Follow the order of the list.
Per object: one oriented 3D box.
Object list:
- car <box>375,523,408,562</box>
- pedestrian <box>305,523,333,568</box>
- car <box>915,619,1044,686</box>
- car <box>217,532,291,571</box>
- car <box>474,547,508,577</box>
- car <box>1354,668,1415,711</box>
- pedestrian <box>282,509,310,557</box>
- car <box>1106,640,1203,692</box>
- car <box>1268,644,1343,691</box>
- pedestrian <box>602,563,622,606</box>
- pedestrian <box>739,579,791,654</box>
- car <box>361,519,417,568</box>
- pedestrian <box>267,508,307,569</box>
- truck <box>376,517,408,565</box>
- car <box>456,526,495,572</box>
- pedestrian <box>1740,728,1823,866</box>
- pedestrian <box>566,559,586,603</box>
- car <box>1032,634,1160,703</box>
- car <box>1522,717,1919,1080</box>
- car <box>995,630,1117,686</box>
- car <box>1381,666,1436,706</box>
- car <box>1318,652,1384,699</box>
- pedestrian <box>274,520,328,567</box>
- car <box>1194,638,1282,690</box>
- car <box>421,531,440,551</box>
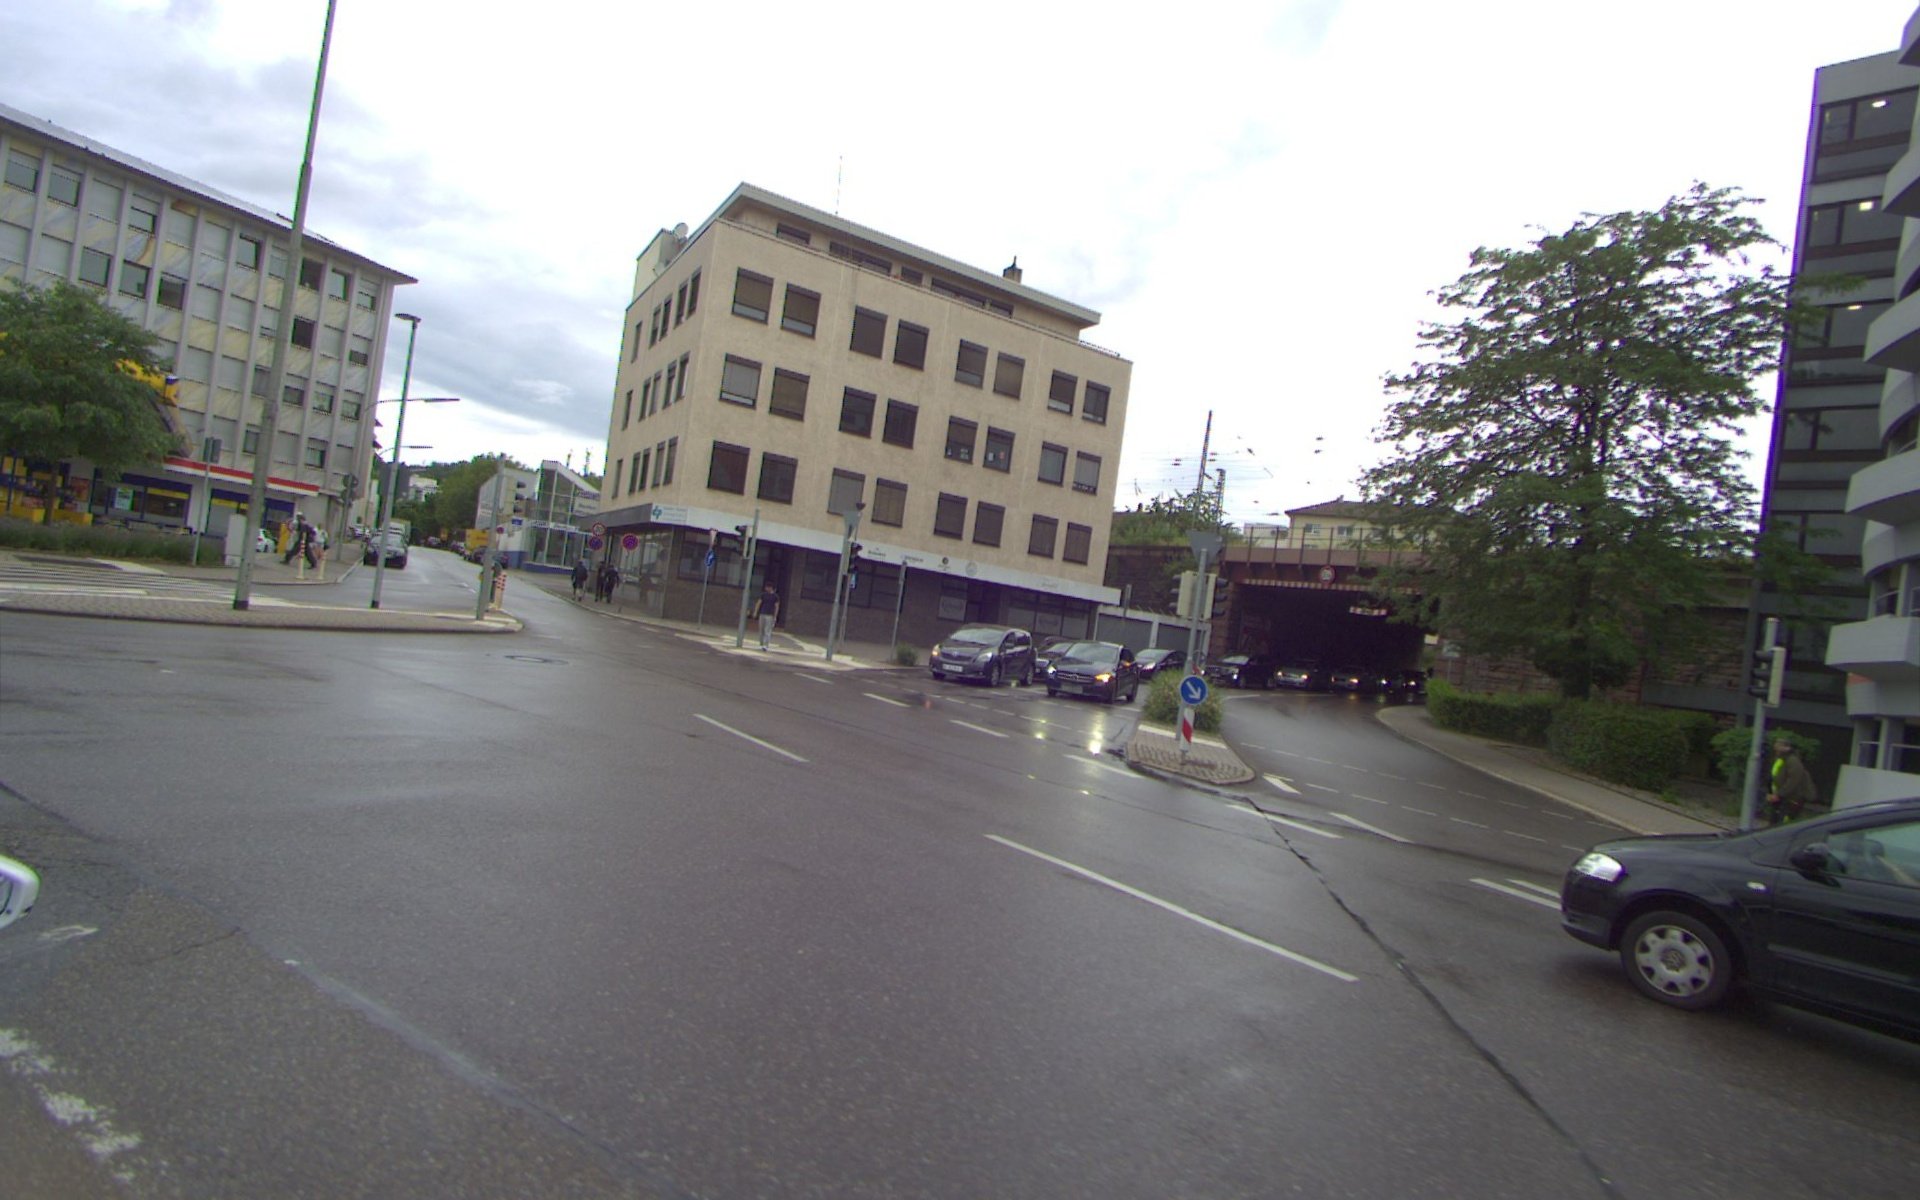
[{"bbox_3d":[-49.388,-4.947,87.338,1.980,3.006,4.546,9,-3,-30],"label":"car"},{"bbox_3d":[-23.187,-1.977,36.421,0.472,1.531,0.574,8,-2,-10],"label":"pedestrian"},{"bbox_3d":[0.650,1.451,27.758,1.963,1.462,4.484,7,0,22],"label":"car"},{"bbox_3d":[-35.104,-2.370,50.170,1.973,1.533,4.399,6,-2,-22],"label":"car"},{"bbox_3d":[-37.337,-2.999,79.987,1.979,2.035,3.974,10,-3,-28],"label":"car"},{"bbox_3d":[25.725,5.450,60.899,1.974,2.035,3.985,6,-4,43],"label":"car"},{"bbox_3d":[-26.023,-2.621,39.423,0.674,1.777,0.725,9,-3,-37],"label":"pedestrian"},{"bbox_3d":[8.208,2.791,42.314,3.981,1.602,1.976,12,-4,-44],"label":"car"},{"bbox_3d":[17.914,3.508,52.106,3.981,1.802,1.976,11,-4,-44],"label":"car"},{"bbox_3d":[-14.767,-0.657,42.739,0.475,1.761,0.571,9,-2,-29],"label":"pedestrian"},{"bbox_3d":[-5.161,0.444,26.629,0.761,1.811,0.859,7,-3,26],"label":"pedestrian"},{"bbox_3d":[-27.213,-2.622,47.922,1.981,1.885,4.546,10,-4,-30],"label":"car"},{"bbox_3d":[-30.413,-2.767,45.447,1.134,2.595,1.004,6,-3,45],"label":"pedestrian"},{"bbox_3d":[-52.878,-5.444,93.597,1.980,3.956,5.444,9,-3,-30],"label":"truck"},{"bbox_3d":[-44.419,-4.607,92.179,2.360,3.728,4.959,9,-3,-29],"label":"car"},{"bbox_3d":[12.228,2.928,14.986,0.499,1.915,0.543,6,2,-10],"label":"pedestrian"},{"bbox_3d":[-16.191,-0.807,42.394,0.475,1.761,0.571,9,-2,-29],"label":"pedestrian"},{"bbox_3d":[3.796,1.857,27.412,1.965,1.462,4.480,7,0,27],"label":"car"},{"bbox_3d":[5.503,1.778,5.576,1.670,1.509,3.700,12,-3,-42],"label":"car"},{"bbox_3d":[3.236,1.949,33.113,1.968,1.462,4.473,7,0,34],"label":"car"},{"bbox_3d":[29.515,5.662,66.167,1.974,2.035,3.985,6,-4,43],"label":"car"},{"bbox_3d":[21.981,4.262,56.474,1.974,2.035,3.985,6,-4,43],"label":"car"},{"bbox_3d":[-22.655,-1.918,34.596,1.095,1.367,0.917,9,-3,-10],"label":"pedestrian"},{"bbox_3d":[12.827,2.959,46.304,4.144,1.802,1.976,11,-4,-44],"label":"car"},{"bbox_3d":[-68.571,-7.588,130.244,1.979,2.035,3.974,10,-3,-28],"label":"car"}]
